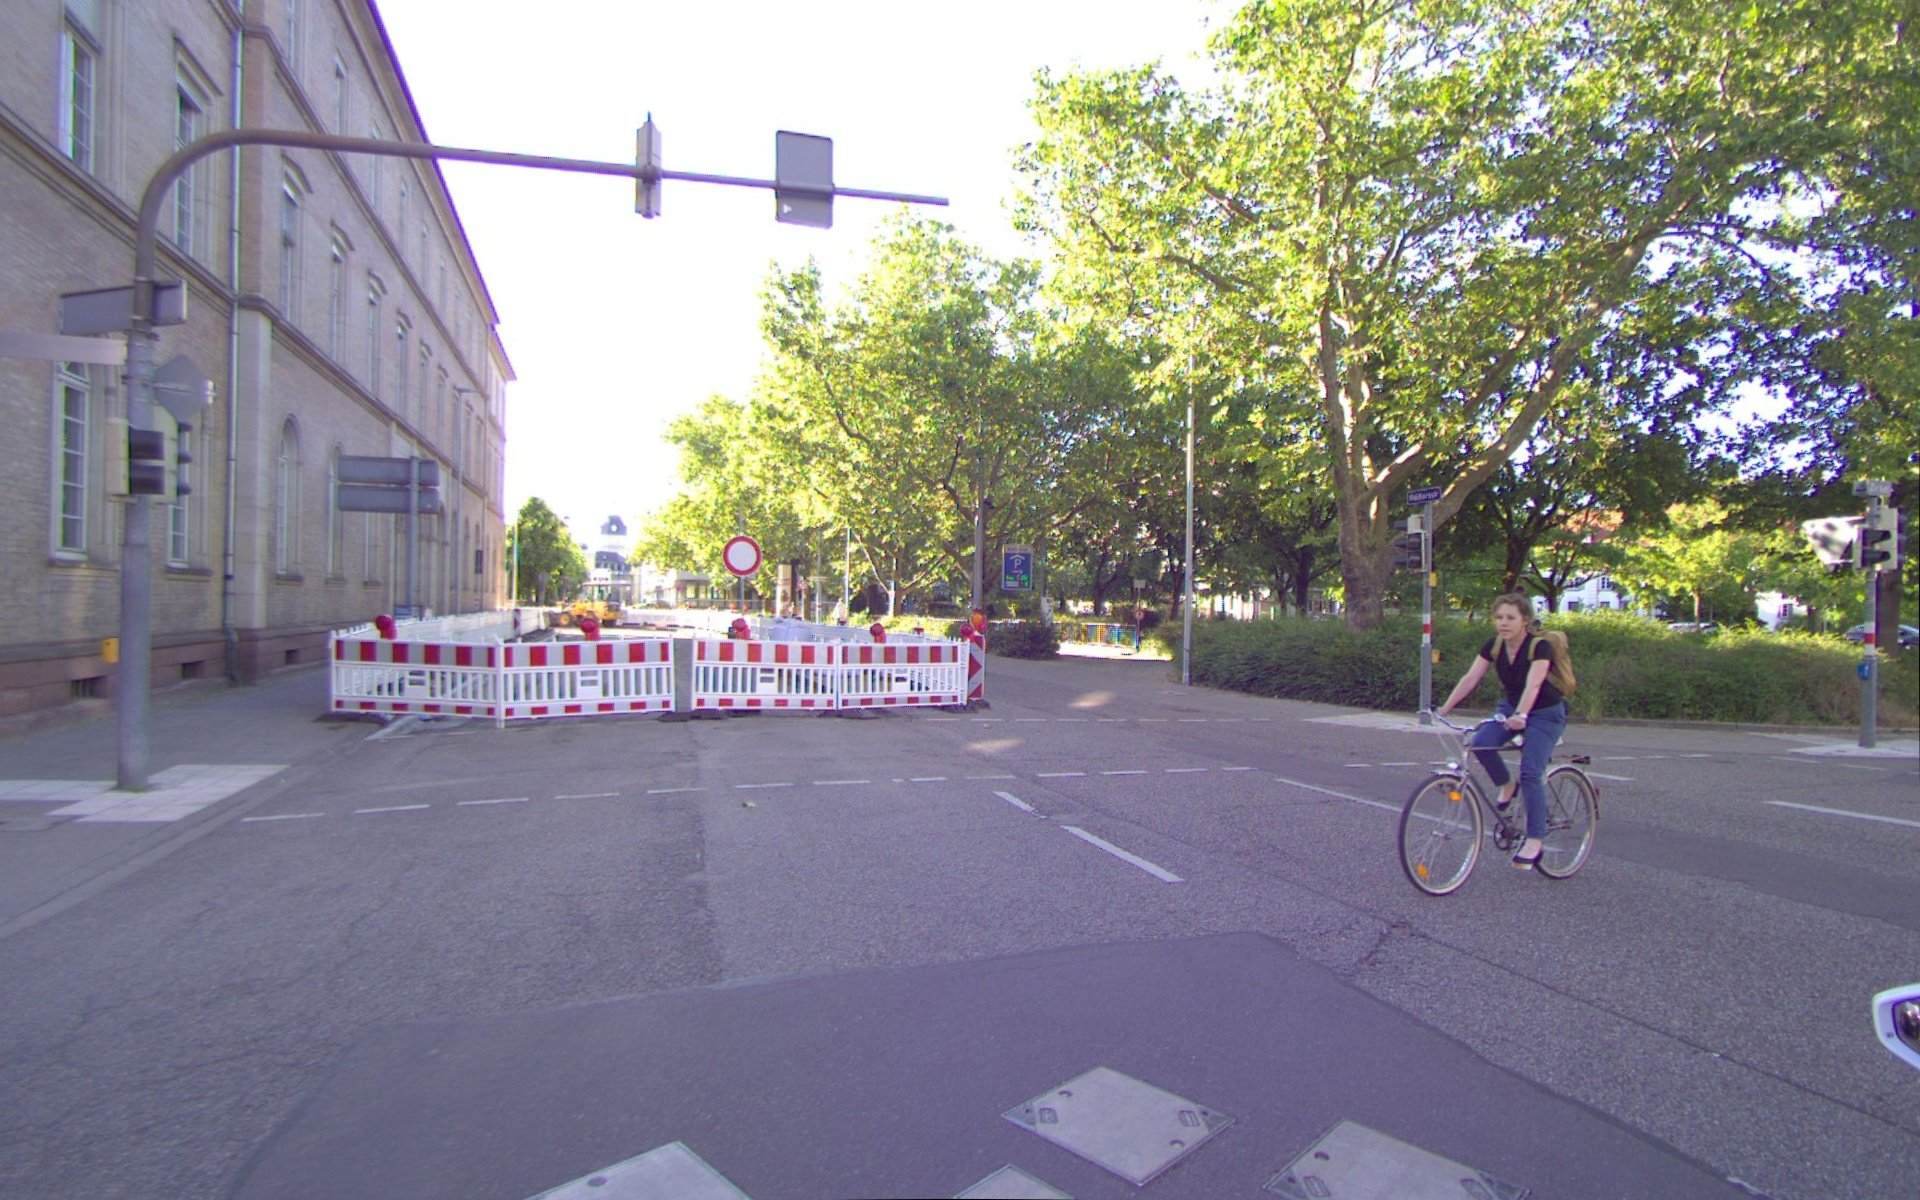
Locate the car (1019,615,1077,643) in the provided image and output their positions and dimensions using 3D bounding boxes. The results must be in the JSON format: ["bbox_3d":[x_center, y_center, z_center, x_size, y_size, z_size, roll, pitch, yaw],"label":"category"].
[{"bbox_3d":[5.782,1.937,66.815,2.044,1.753,4.547,2,-1,-21],"label":"car"}]

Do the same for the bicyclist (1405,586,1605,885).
[{"bbox_3d":[3.094,0.709,5.708,0.893,1.553,0.612,1,0,-30],"label":"bicyclist"}]

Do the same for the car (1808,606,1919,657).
[{"bbox_3d":[45.169,1.540,49.633,2.044,2.423,4.547,2,-1,-21],"label":"car"}]

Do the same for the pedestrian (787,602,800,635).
[{"bbox_3d":[-10.315,1.148,62.272,0.600,2.040,0.821,1,0,-25],"label":"pedestrian"}]

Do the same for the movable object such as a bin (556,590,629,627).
[{"bbox_3d":[-22.886,0.544,62.581,3.921,2.220,1.942,0,0,19],"label":"movable object such as a bin"}]

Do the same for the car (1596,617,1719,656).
[{"bbox_3d":[33.844,1.733,48.900,2.044,1.753,4.547,2,-1,-21],"label":"car"}]

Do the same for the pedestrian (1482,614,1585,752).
[{"bbox_3d":[7.510,1.073,13.171,0.938,1.745,0.704,1,-1,-12],"label":"pedestrian"}]

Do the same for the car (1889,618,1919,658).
[{"bbox_3d":[43.383,1.698,43.265,2.044,1.753,4.547,2,-1,-21],"label":"car"}]

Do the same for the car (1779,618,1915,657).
[{"bbox_3d":[42.948,1.806,48.778,2.044,1.753,4.547,2,-1,-21],"label":"car"}]

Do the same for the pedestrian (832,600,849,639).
[{"bbox_3d":[-6.393,1.032,53.818,0.639,2.040,0.821,1,0,-25],"label":"pedestrian"}]

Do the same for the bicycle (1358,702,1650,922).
[{"bbox_3d":[3.142,1.134,5.745,1.820,0.982,0.612,1,0,-30],"label":"bicycle"}]
